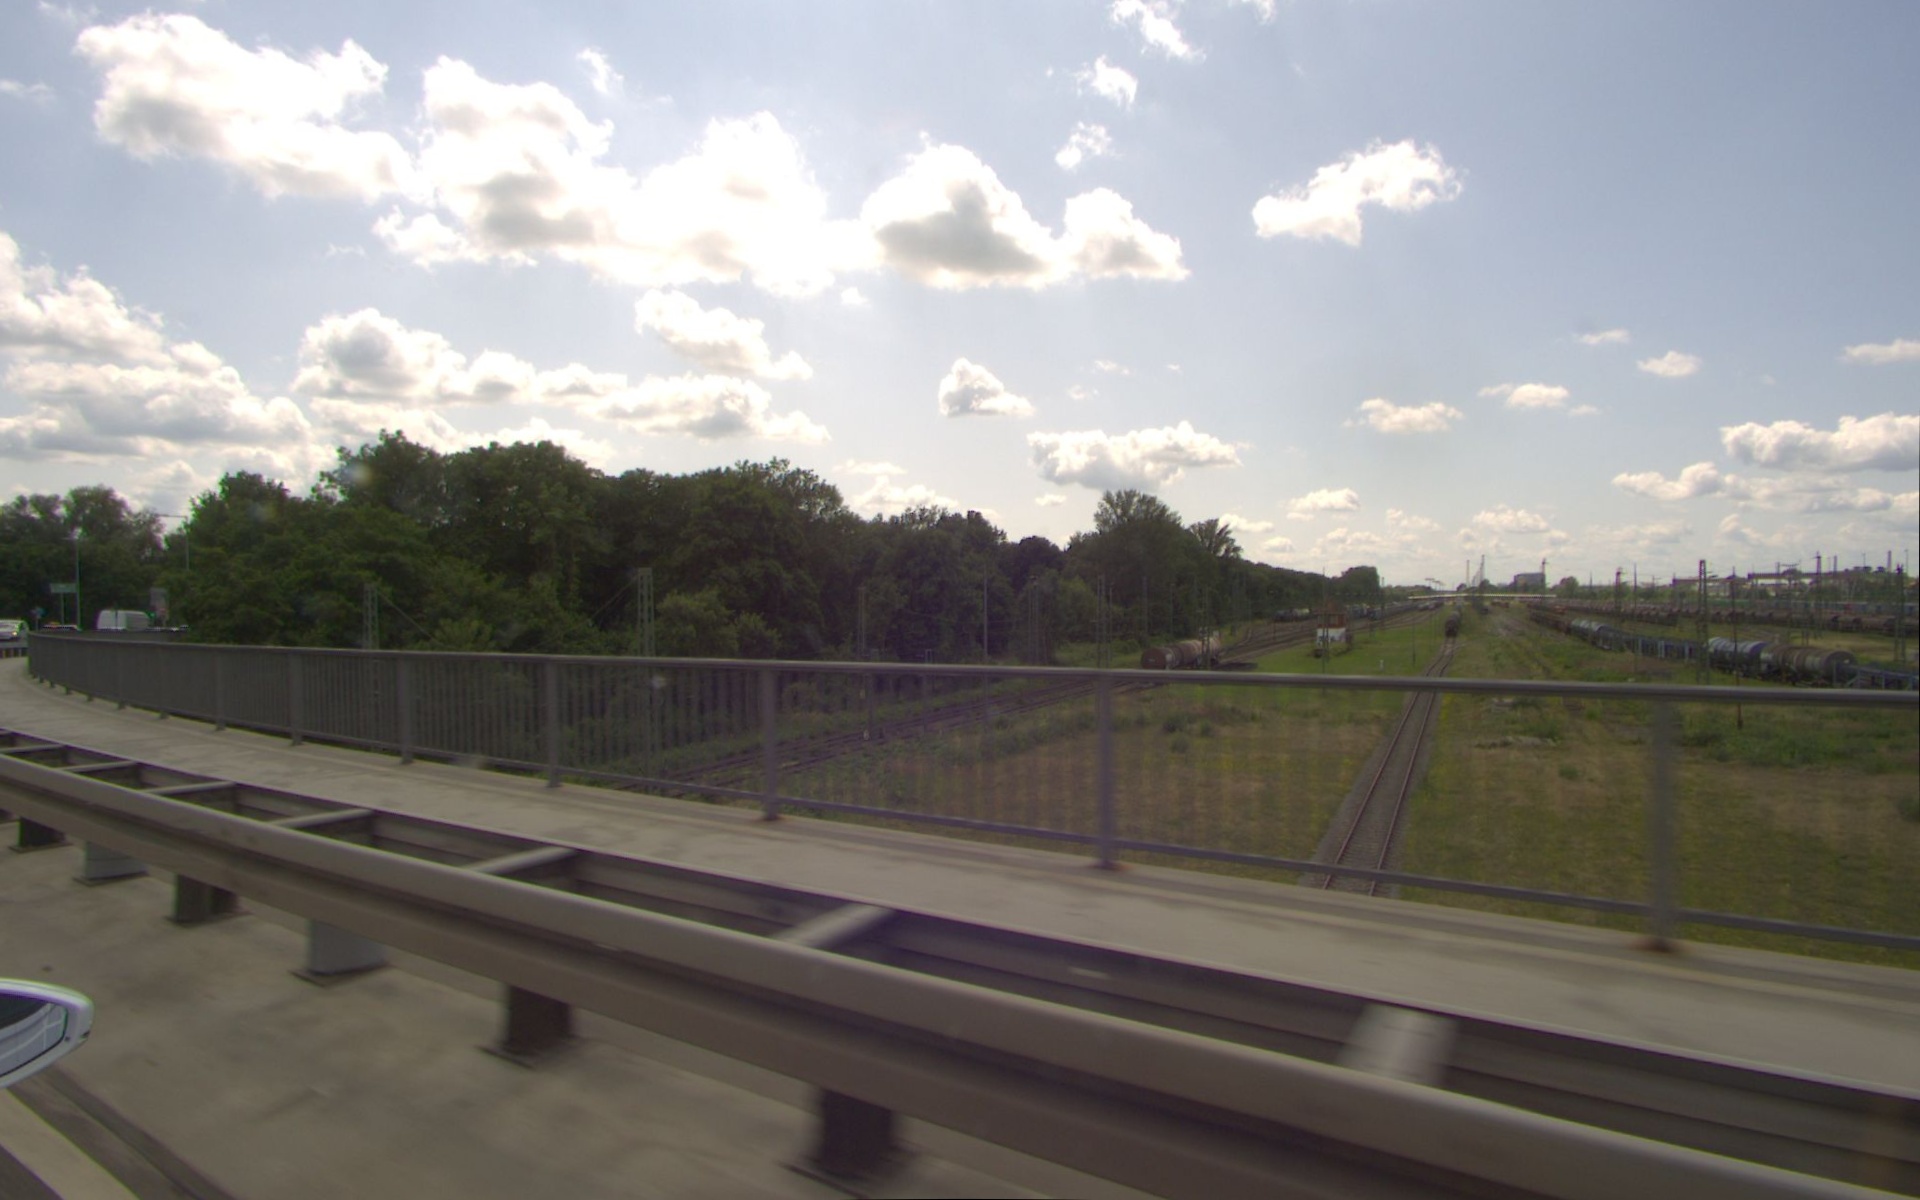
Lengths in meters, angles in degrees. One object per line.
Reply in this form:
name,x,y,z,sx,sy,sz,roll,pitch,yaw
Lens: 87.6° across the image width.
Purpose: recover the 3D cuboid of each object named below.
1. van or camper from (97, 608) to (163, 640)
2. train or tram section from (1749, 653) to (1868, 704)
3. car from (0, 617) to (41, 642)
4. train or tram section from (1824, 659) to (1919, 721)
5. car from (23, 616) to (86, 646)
van or camper,-65.151,1.902,78.715,2.242,2.370,5.229,2,-2,-20
train or tram section,87.327,7.928,103.644,3.156,4.205,15.942,-3,-2,17
car,-68.657,2.150,72.658,1.792,1.776,4.286,2,-2,-28
train or tram section,82.232,7.761,88.415,3.157,4.205,15.935,-3,-2,19
car,-54.232,1.857,60.023,1.712,1.672,3.842,1,-2,-25
